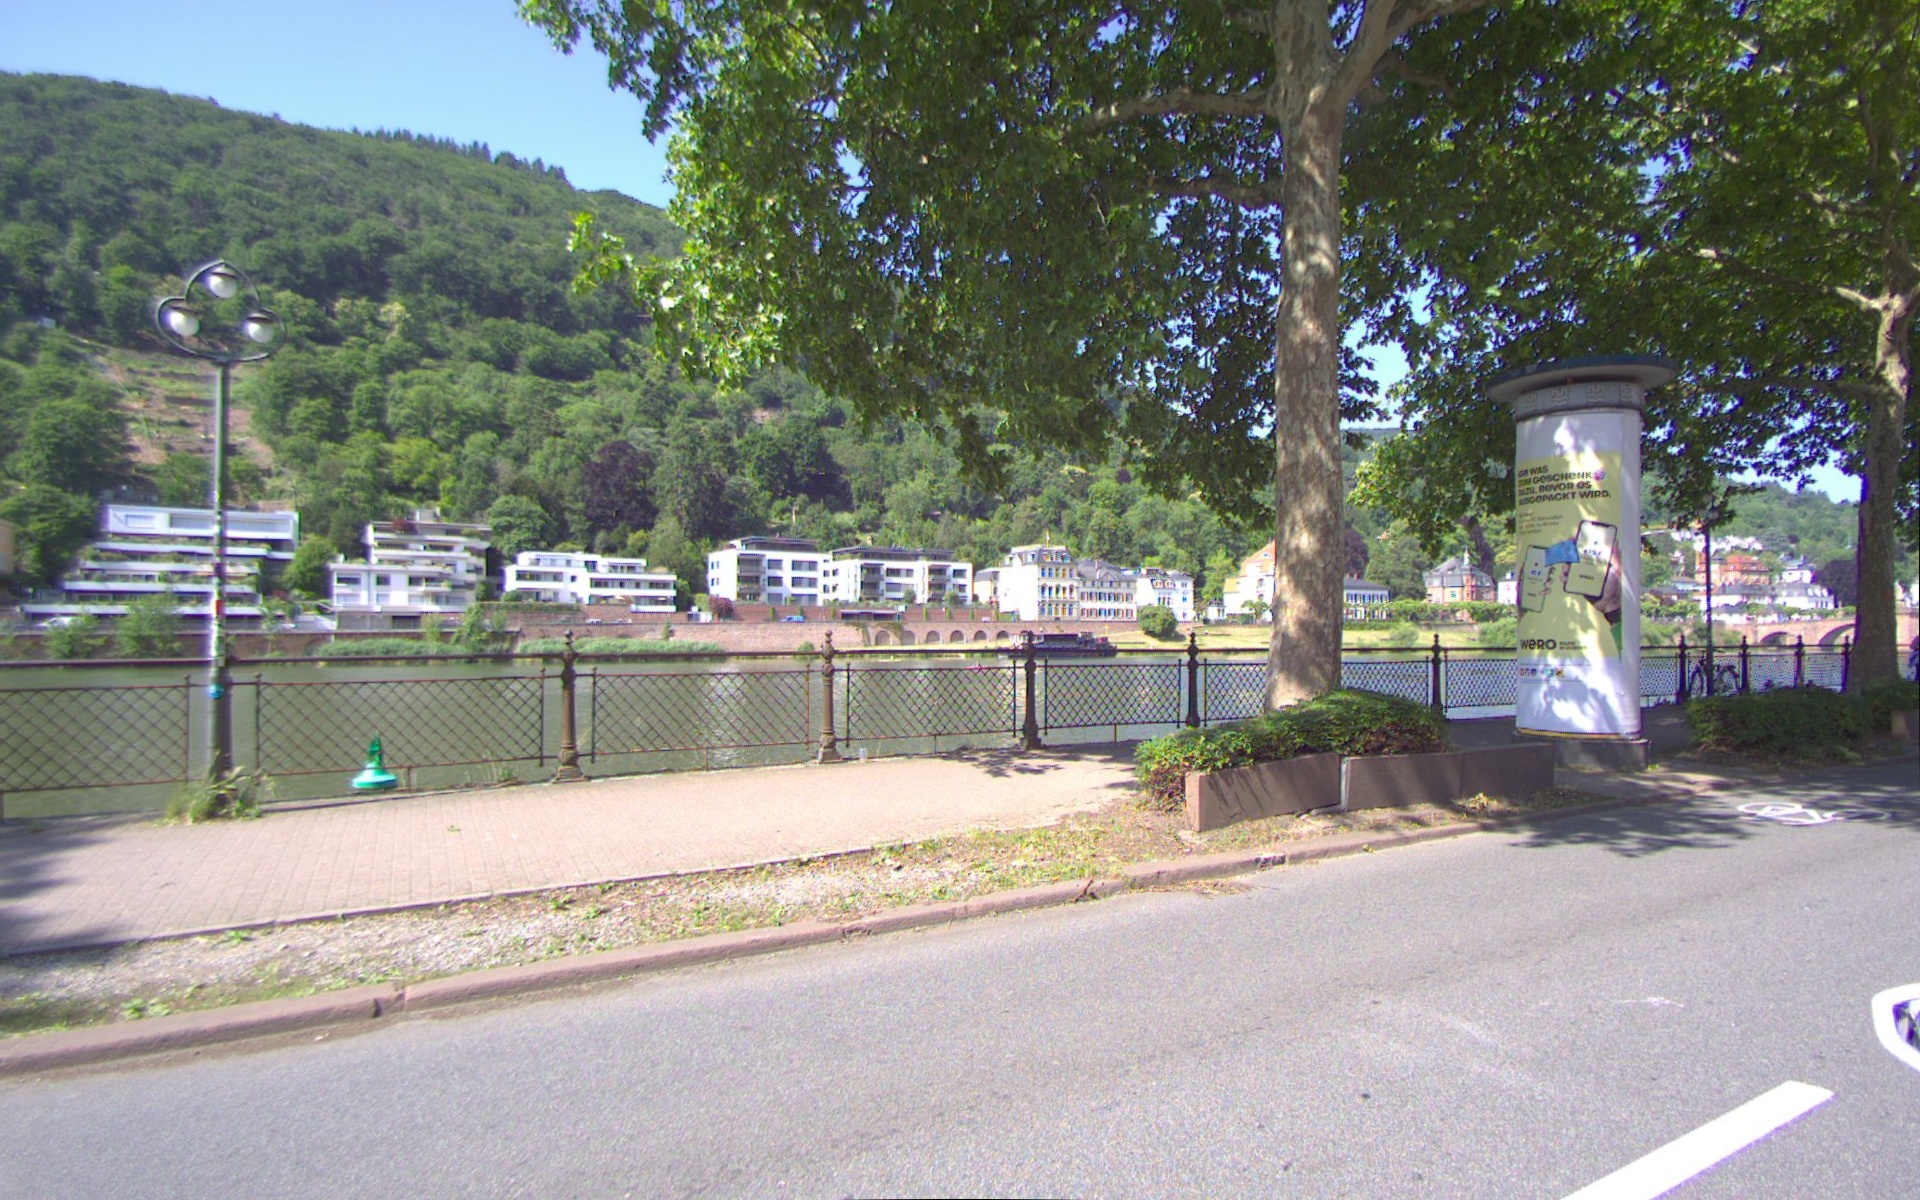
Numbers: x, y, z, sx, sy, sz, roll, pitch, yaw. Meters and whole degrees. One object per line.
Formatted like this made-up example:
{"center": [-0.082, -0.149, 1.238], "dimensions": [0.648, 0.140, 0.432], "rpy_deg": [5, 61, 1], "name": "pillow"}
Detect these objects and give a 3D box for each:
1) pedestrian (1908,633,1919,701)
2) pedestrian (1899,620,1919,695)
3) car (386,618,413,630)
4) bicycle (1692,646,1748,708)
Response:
{"center": [19.725, 1.353, 20.448], "dimensions": [0.411, 1.380, 0.477], "rpy_deg": [1, -3, -26], "name": "pedestrian"}
{"center": [22.040, 1.317, 23.021], "dimensions": [0.577, 1.708, 0.598], "rpy_deg": [1, -2, -31], "name": "pedestrian"}
{"center": [-95.089, 4.042, 170.293], "dimensions": [3.953, 2.040, 1.984], "rpy_deg": [1, 0, -30], "name": "car"}
{"center": [14.357, 1.435, 18.962], "dimensions": [1.281, 1.106, 0.357], "rpy_deg": [1, 2, -31], "name": "bicycle"}
